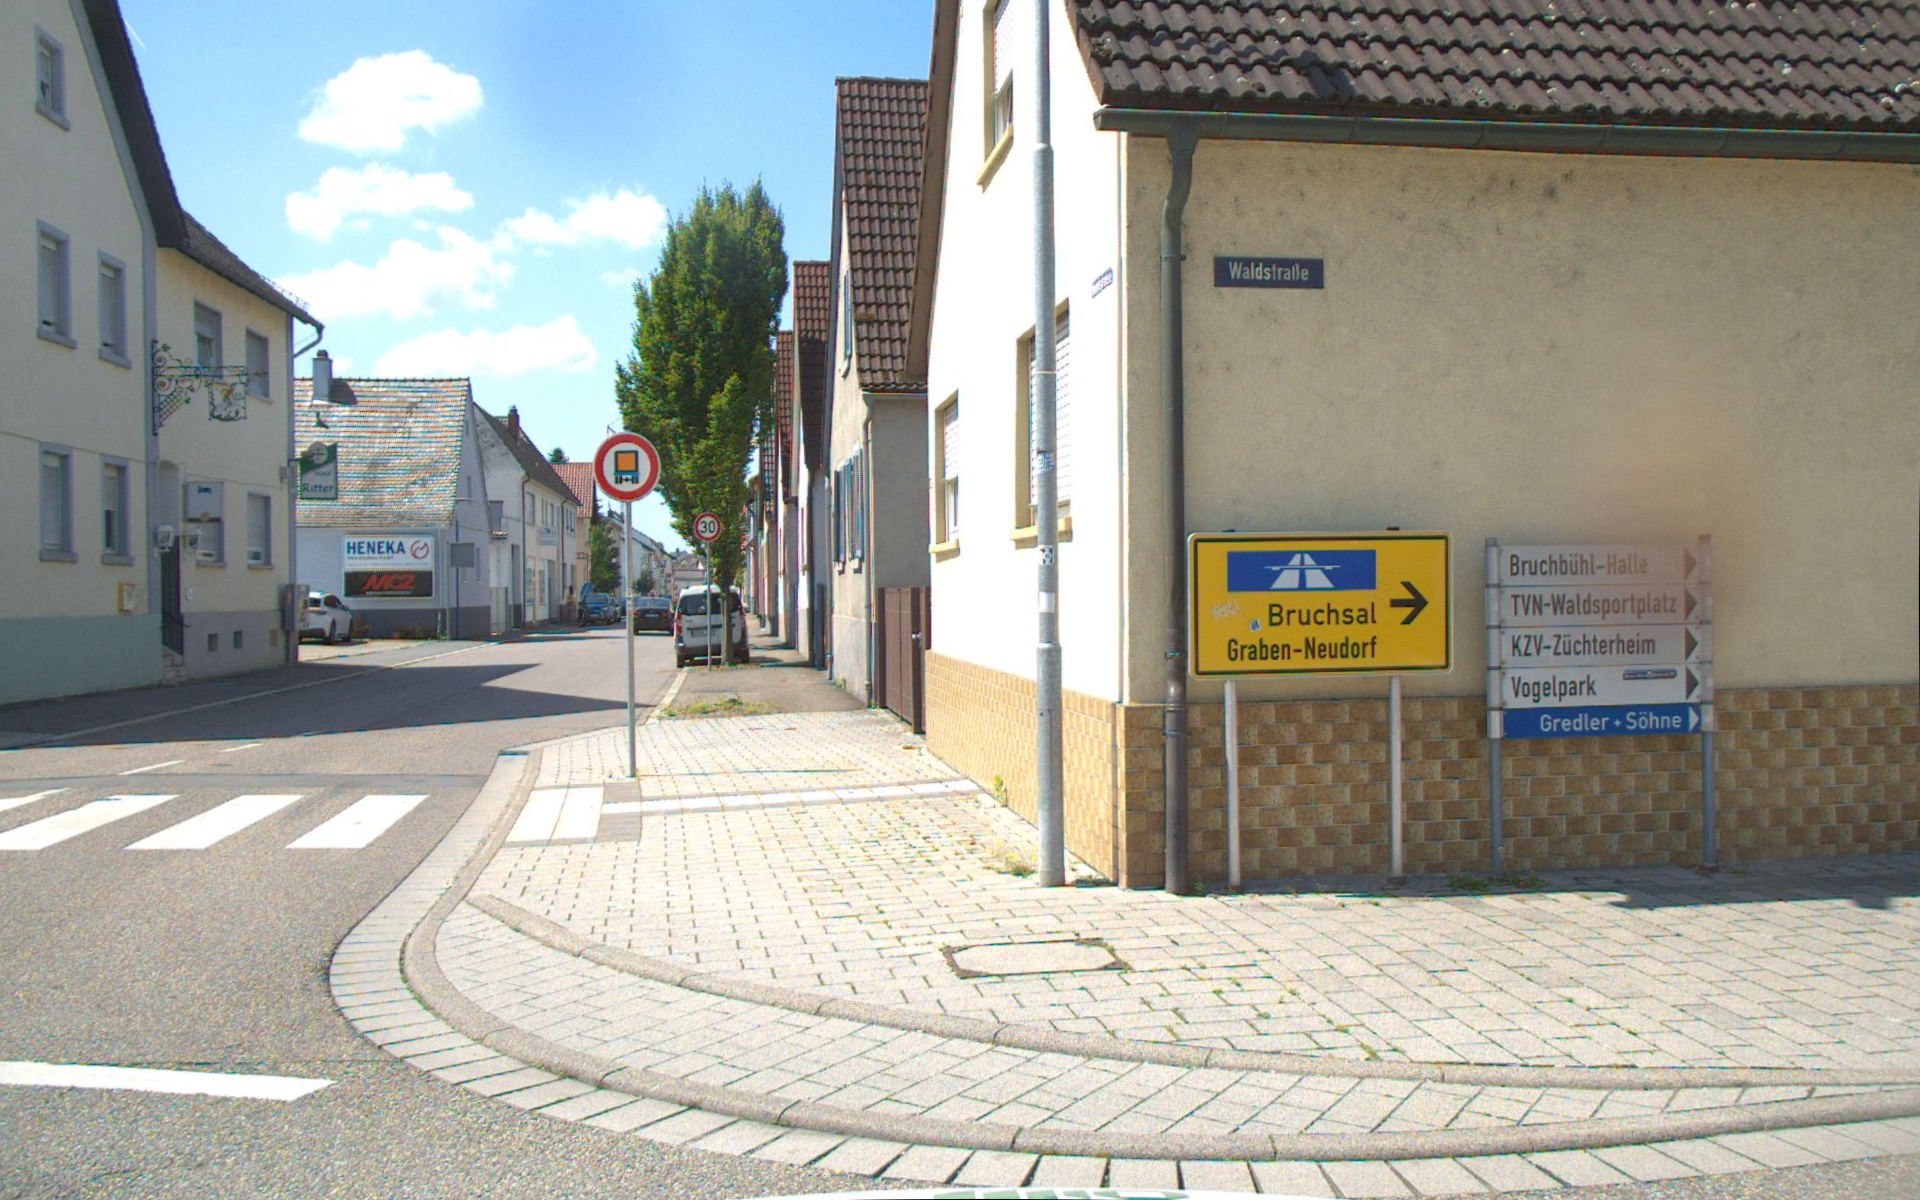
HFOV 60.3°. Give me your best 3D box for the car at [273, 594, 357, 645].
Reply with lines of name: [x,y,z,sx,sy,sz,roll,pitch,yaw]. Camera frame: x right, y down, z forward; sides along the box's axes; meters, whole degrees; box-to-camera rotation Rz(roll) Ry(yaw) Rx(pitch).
car: [-20.840,0.599,53.583,1.688,1.583,4.189,1,0,-10]

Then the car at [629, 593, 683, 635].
car: [-12.124,0.537,66.202,1.866,1.591,4.469,0,0,-7]

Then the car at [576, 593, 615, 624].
car: [-19.513,0.420,88.690,1.776,1.617,3.992,0,0,-9]

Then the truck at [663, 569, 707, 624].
truck: [-22.608,-0.269,136.393,3.085,4.325,9.287,1,0,-7]

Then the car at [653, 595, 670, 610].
car: [-32.945,0.301,182.646,1.775,1.617,3.992,0,0,-9]

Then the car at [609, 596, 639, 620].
car: [-22.978,0.537,113.217,1.776,1.617,3.992,0,0,-9]

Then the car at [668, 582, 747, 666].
car: [-6.007,0.521,39.141,1.688,1.821,4.134,-2,1,-10]

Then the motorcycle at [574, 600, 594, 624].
motorcycle: [-19.299,0.622,84.835,0.830,1.190,2.463,1,0,-9]
